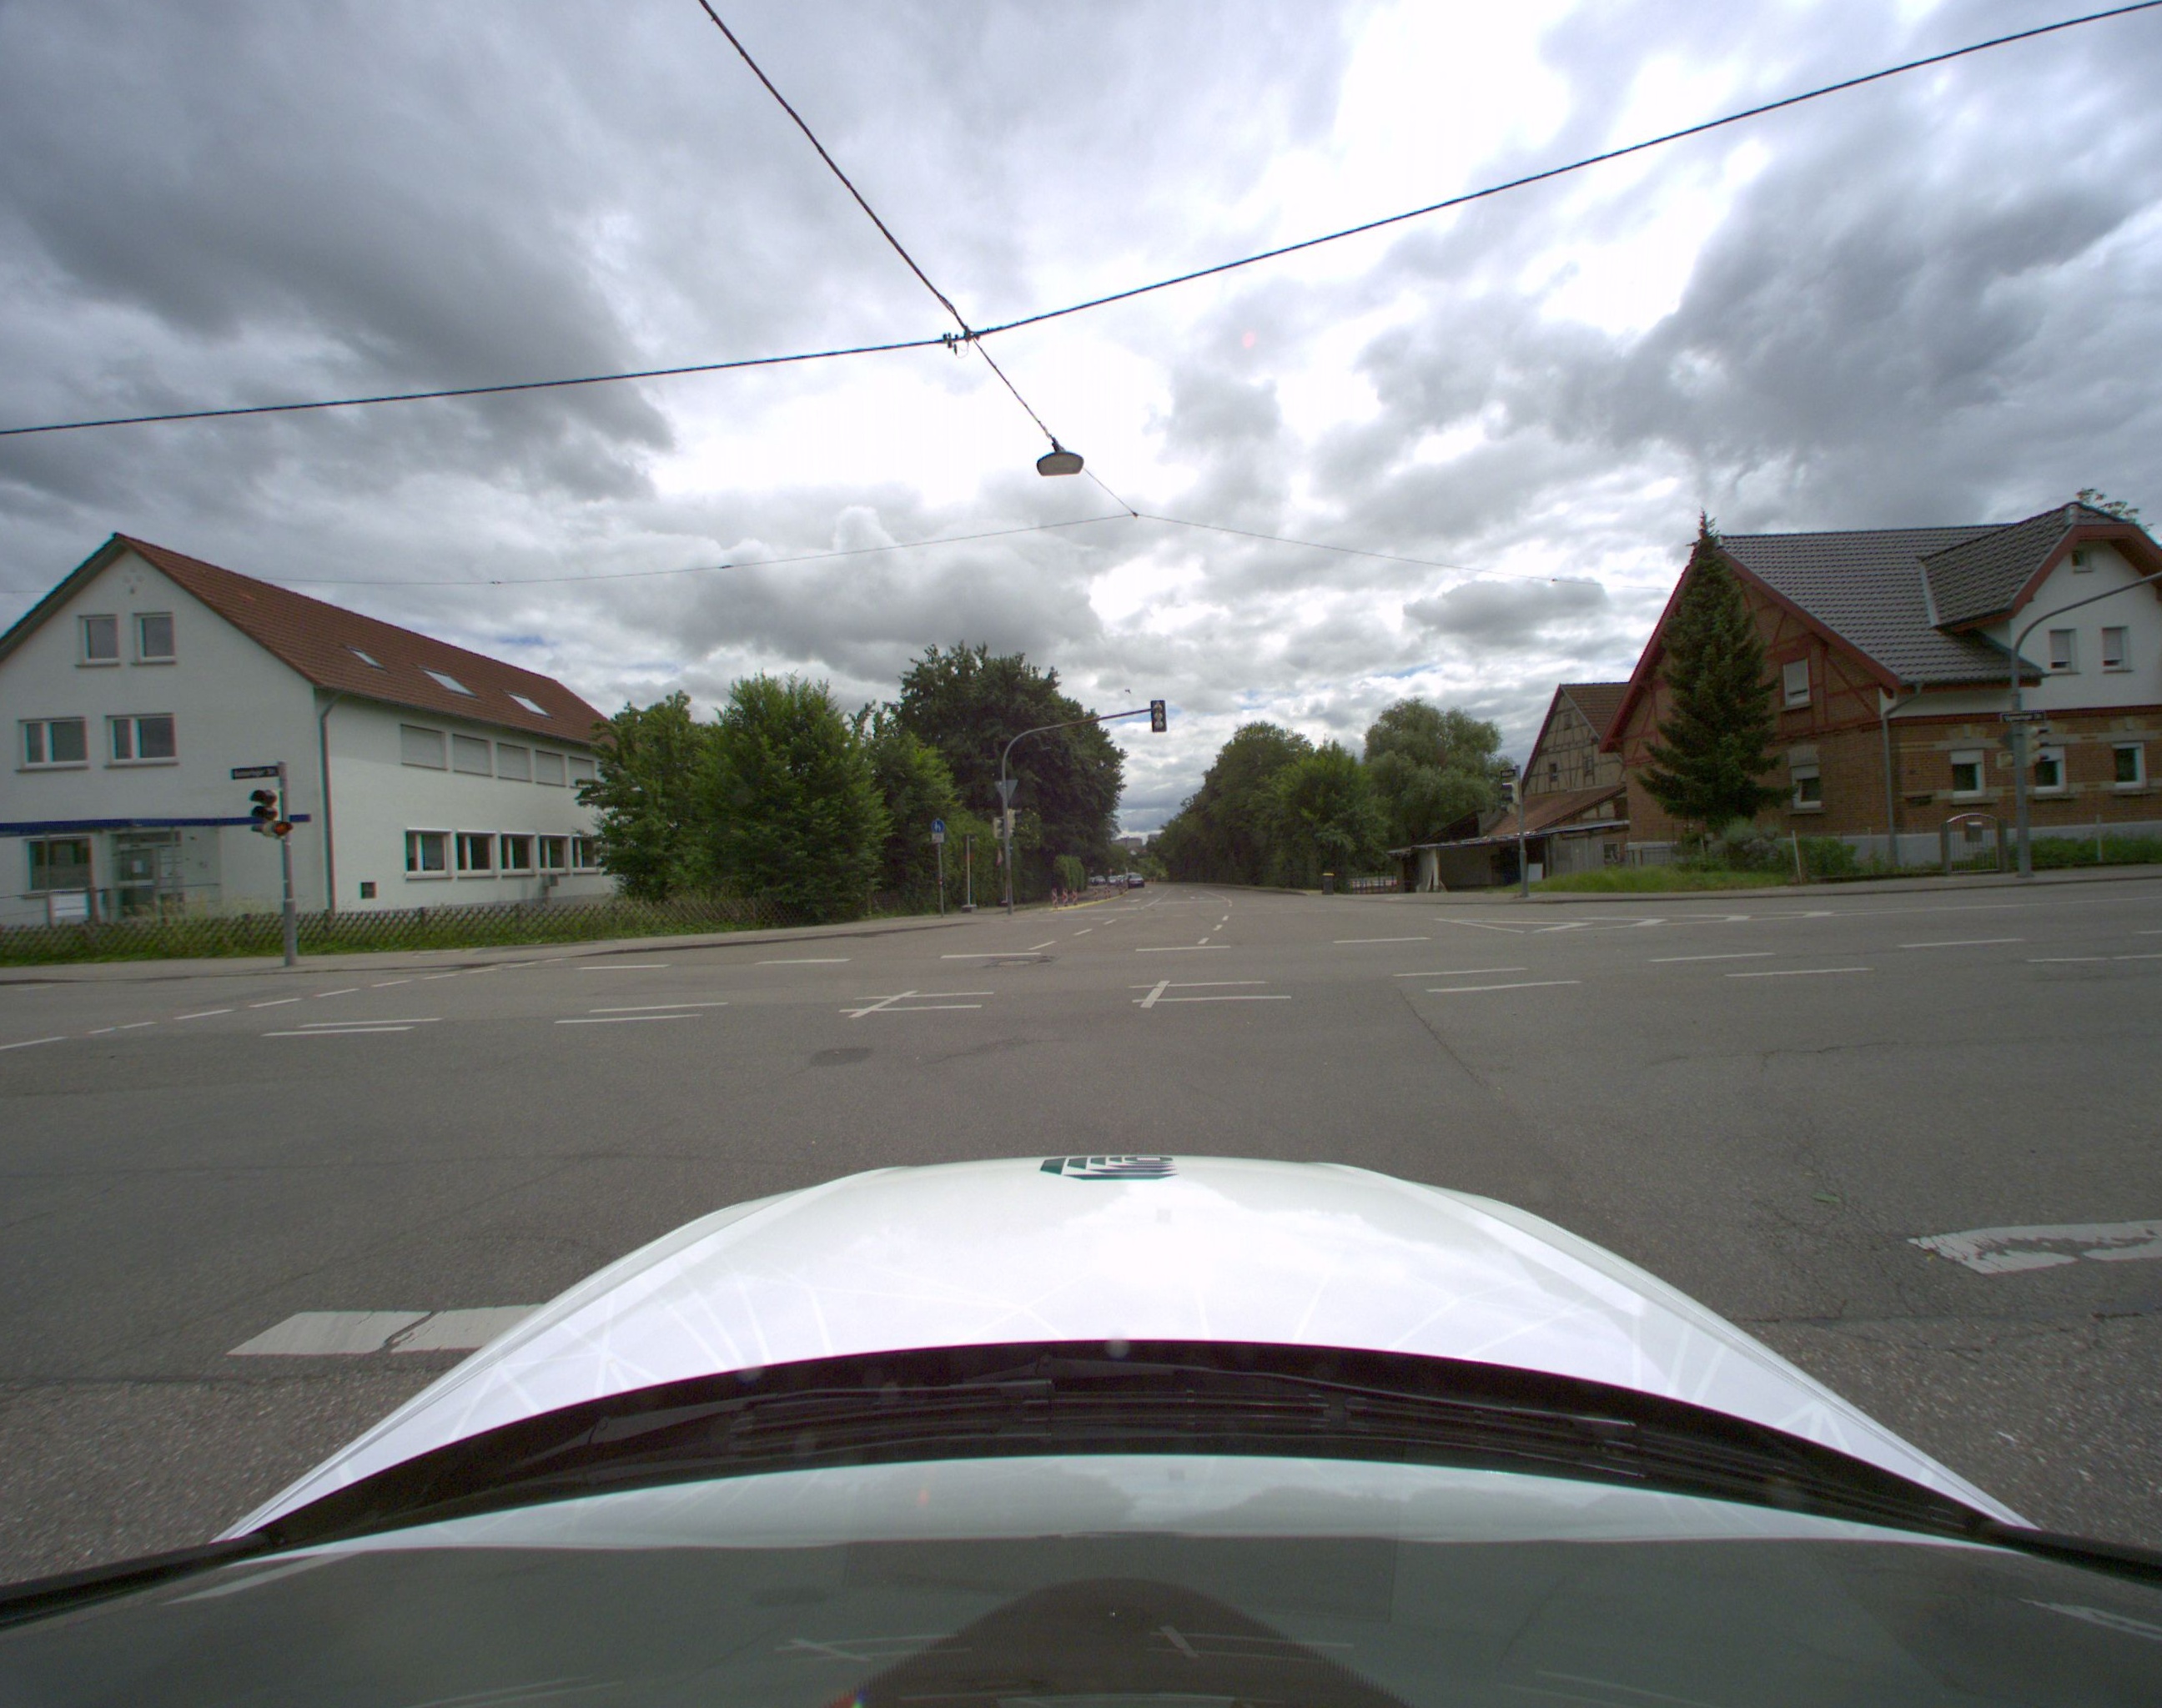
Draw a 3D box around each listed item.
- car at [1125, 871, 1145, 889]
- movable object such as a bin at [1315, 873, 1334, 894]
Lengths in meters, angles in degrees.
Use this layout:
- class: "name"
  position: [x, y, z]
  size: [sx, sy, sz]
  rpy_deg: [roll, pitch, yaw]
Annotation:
- class: "car"
  position: [5.879, 2.844, 88.694]
  size: [1.984, 1.750, 4.005]
  rpy_deg: [-3, -1, 4]
- class: "movable object such as a bin"
  position: [10.561, 1.279, 35.306]
  size: [0.585, 0.906, 0.606]
  rpy_deg: [-4, -1, 39]
